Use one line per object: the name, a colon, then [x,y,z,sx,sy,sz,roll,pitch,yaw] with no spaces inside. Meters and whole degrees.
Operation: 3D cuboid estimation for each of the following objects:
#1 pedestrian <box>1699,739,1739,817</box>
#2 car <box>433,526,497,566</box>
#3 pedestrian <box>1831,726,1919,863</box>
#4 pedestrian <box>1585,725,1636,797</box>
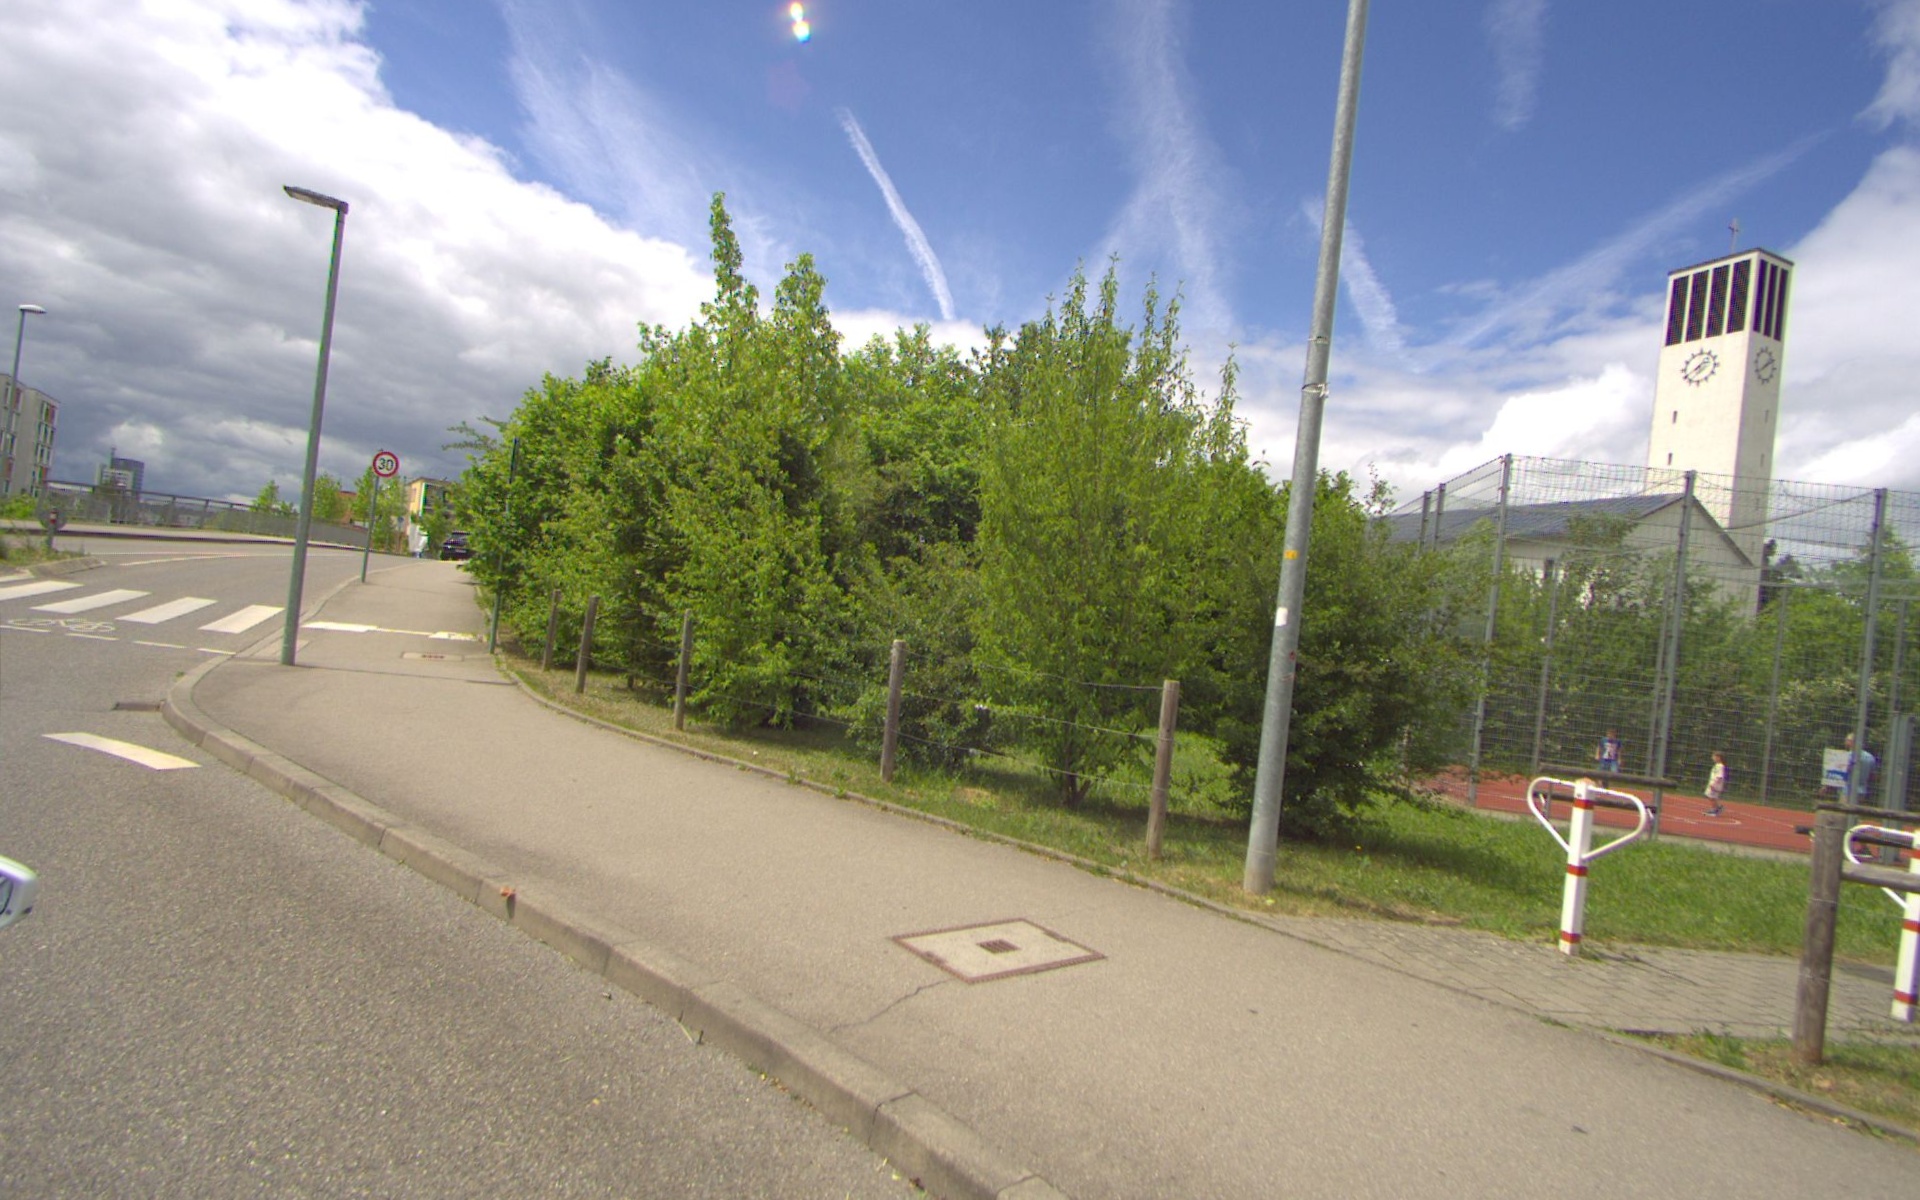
pedestrian: [14.168,3.307,18.780,0.456,1.361,0.795,4,-3,42]
car: [-25.416,-2.730,51.777,1.882,1.468,3.996,7,-4,-12]
pedestrian: [13.516,2.844,14.824,0.737,1.860,0.553,6,-2,7]
pedestrian: [13.652,3.367,21.110,0.786,1.361,0.461,4,-3,36]
